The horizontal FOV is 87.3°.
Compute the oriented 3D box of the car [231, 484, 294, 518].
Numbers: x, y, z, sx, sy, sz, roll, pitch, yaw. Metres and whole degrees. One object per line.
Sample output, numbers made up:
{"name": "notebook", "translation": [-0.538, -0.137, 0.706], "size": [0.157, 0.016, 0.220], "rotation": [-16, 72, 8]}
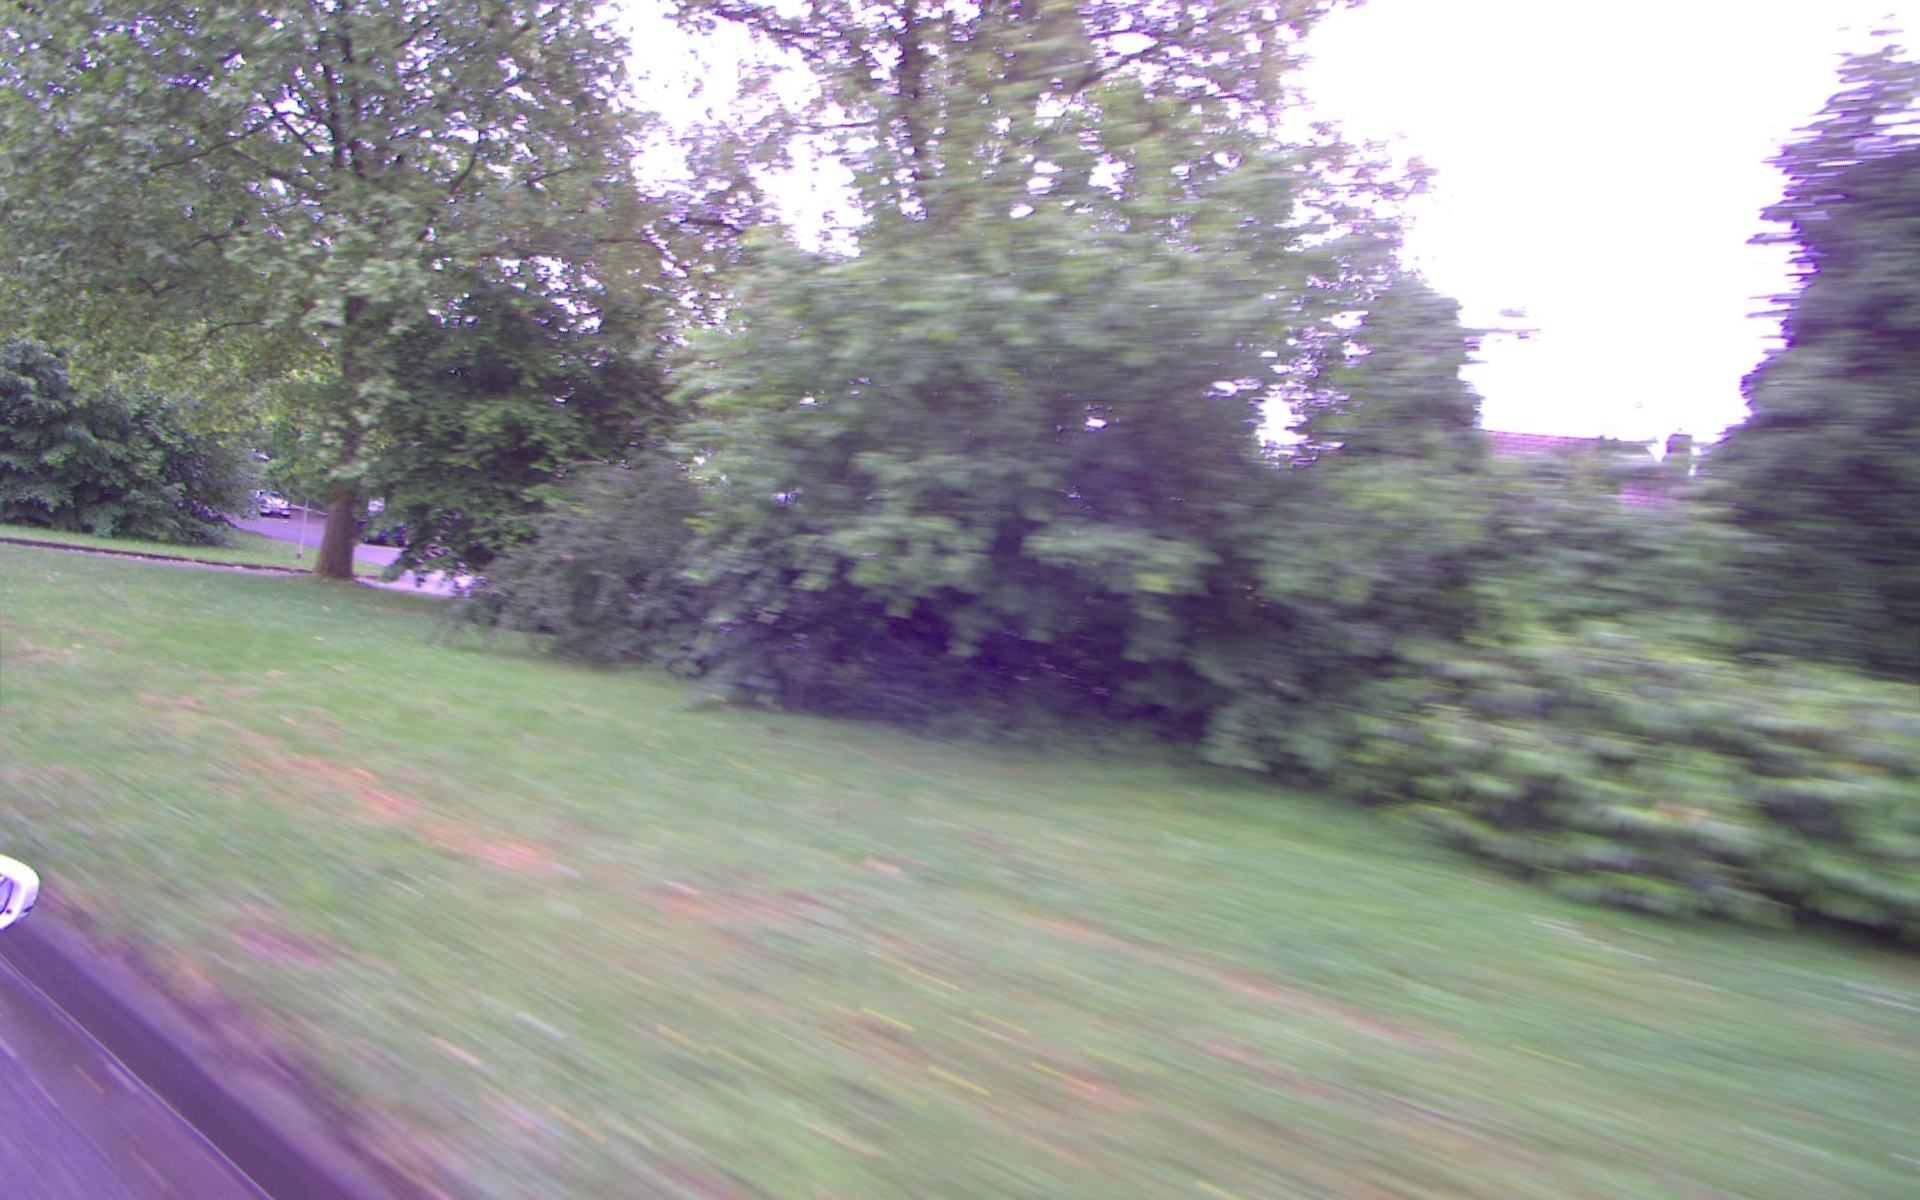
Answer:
{"name": "car", "translation": [-38.730, -5.494, 55.827], "size": [3.650, 1.395, 1.680], "rotation": [10, 5, 34]}

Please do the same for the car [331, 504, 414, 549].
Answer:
{"name": "car", "translation": [-28.875, -3.629, 49.380], "size": [3.969, 1.646, 1.902], "rotation": [9, 3, 34]}
